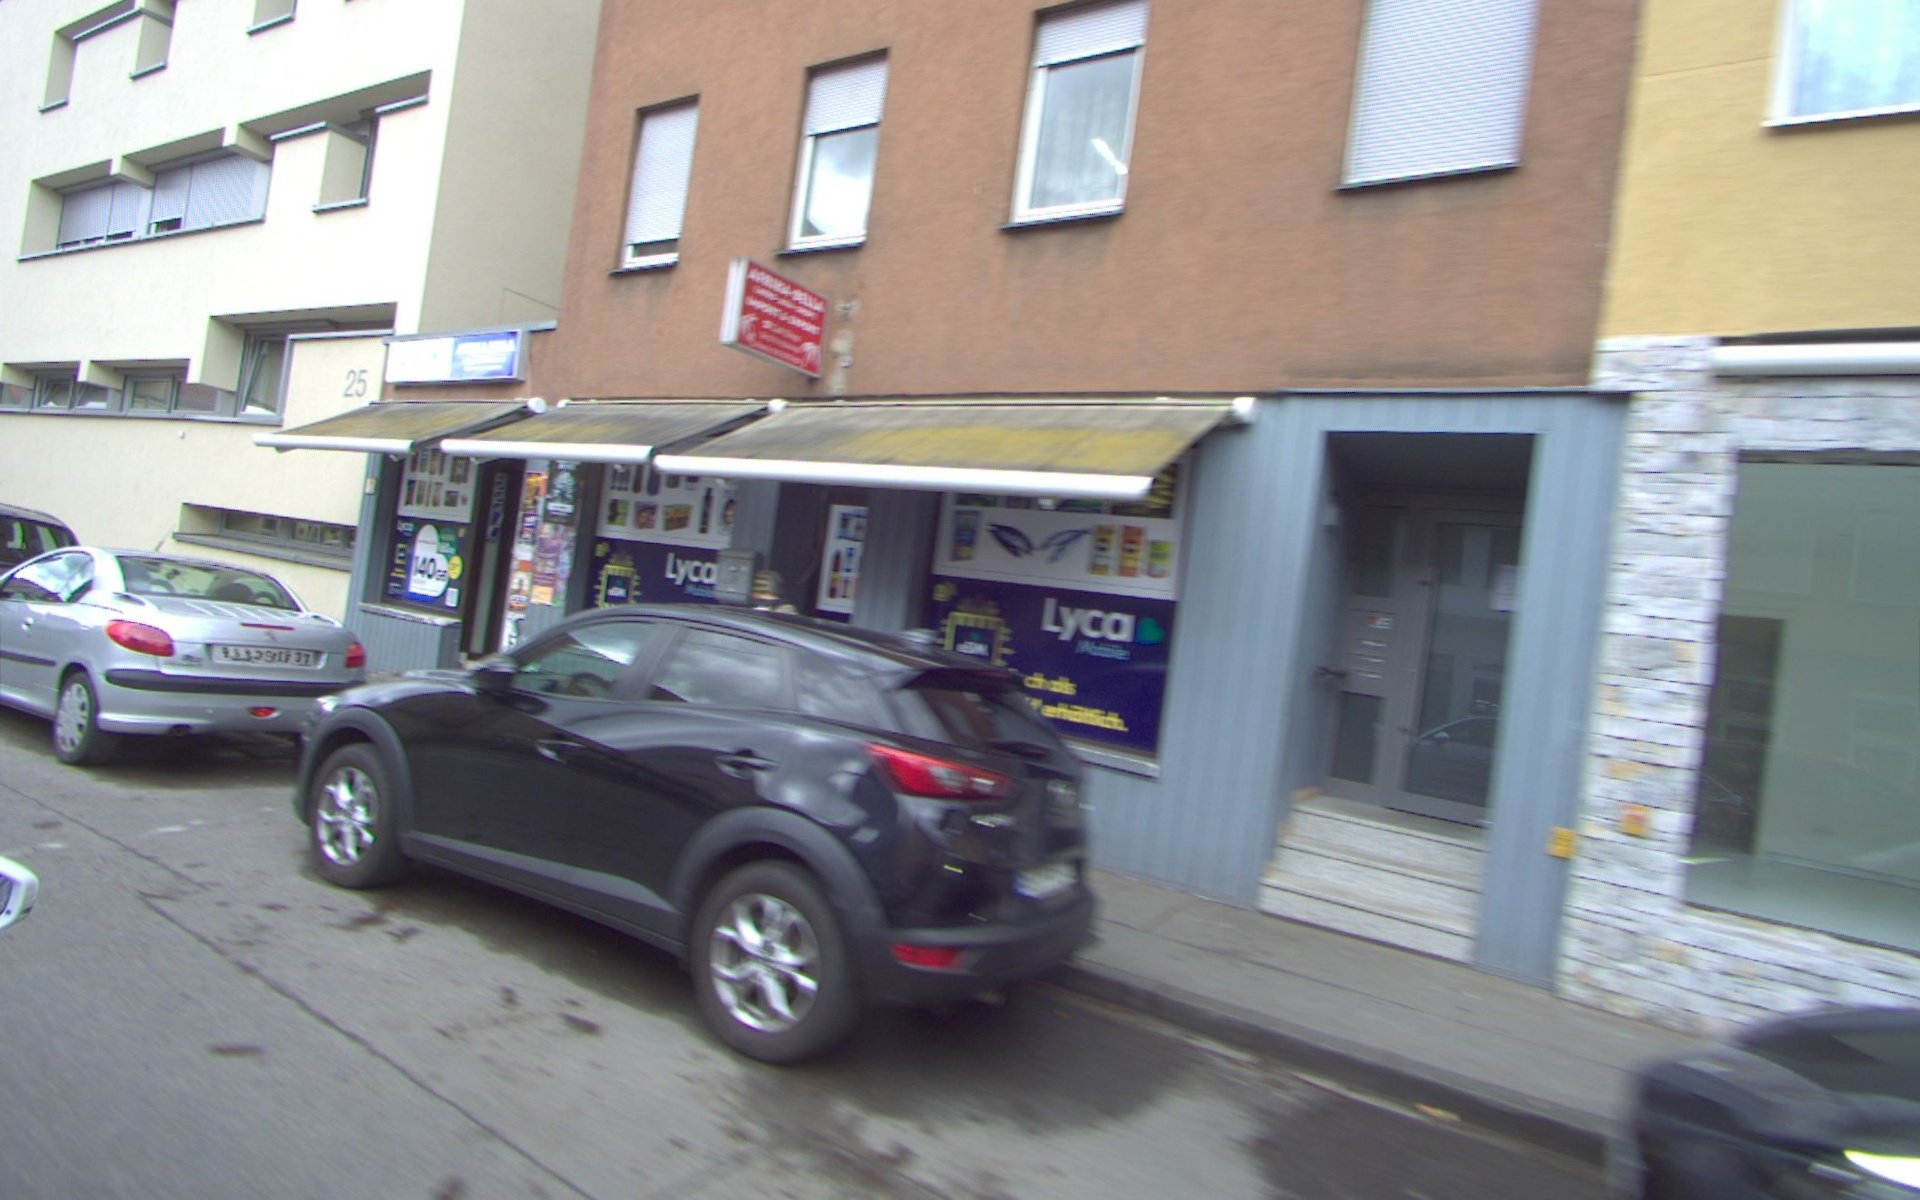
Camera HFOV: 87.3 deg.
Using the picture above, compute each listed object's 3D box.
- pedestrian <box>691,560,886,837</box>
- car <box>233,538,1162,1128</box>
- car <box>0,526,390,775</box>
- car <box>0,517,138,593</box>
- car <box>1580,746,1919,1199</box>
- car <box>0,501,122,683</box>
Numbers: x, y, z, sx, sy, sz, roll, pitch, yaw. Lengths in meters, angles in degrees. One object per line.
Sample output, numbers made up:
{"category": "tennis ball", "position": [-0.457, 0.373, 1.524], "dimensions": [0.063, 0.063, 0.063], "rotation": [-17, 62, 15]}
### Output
{"category": "pedestrian", "position": [-1.149, 0.633, 6.787], "dimensions": [0.874, 1.669, 0.702], "rotation": [7, 0, 31]}
{"category": "car", "position": [-1.369, 0.726, 4.756], "dimensions": [4.137, 1.535, 1.606], "rotation": [6, -3, 29]}
{"category": "car", "position": [-6.174, 0.268, 7.526], "dimensions": [3.748, 1.348, 1.555], "rotation": [6, -2, 31]}
{"category": "car", "position": [-25.224, -1.329, 26.978], "dimensions": [1.825, 1.591, 4.514], "rotation": [6, -4, 37]}
{"category": "car", "position": [3.607, 1.323, 1.508], "dimensions": [4.437, 1.422, 1.753], "rotation": [6, -1, 32]}
{"category": "car", "position": [-10.115, -0.252, 9.801], "dimensions": [3.722, 1.578, 1.715], "rotation": [6, -2, 31]}
